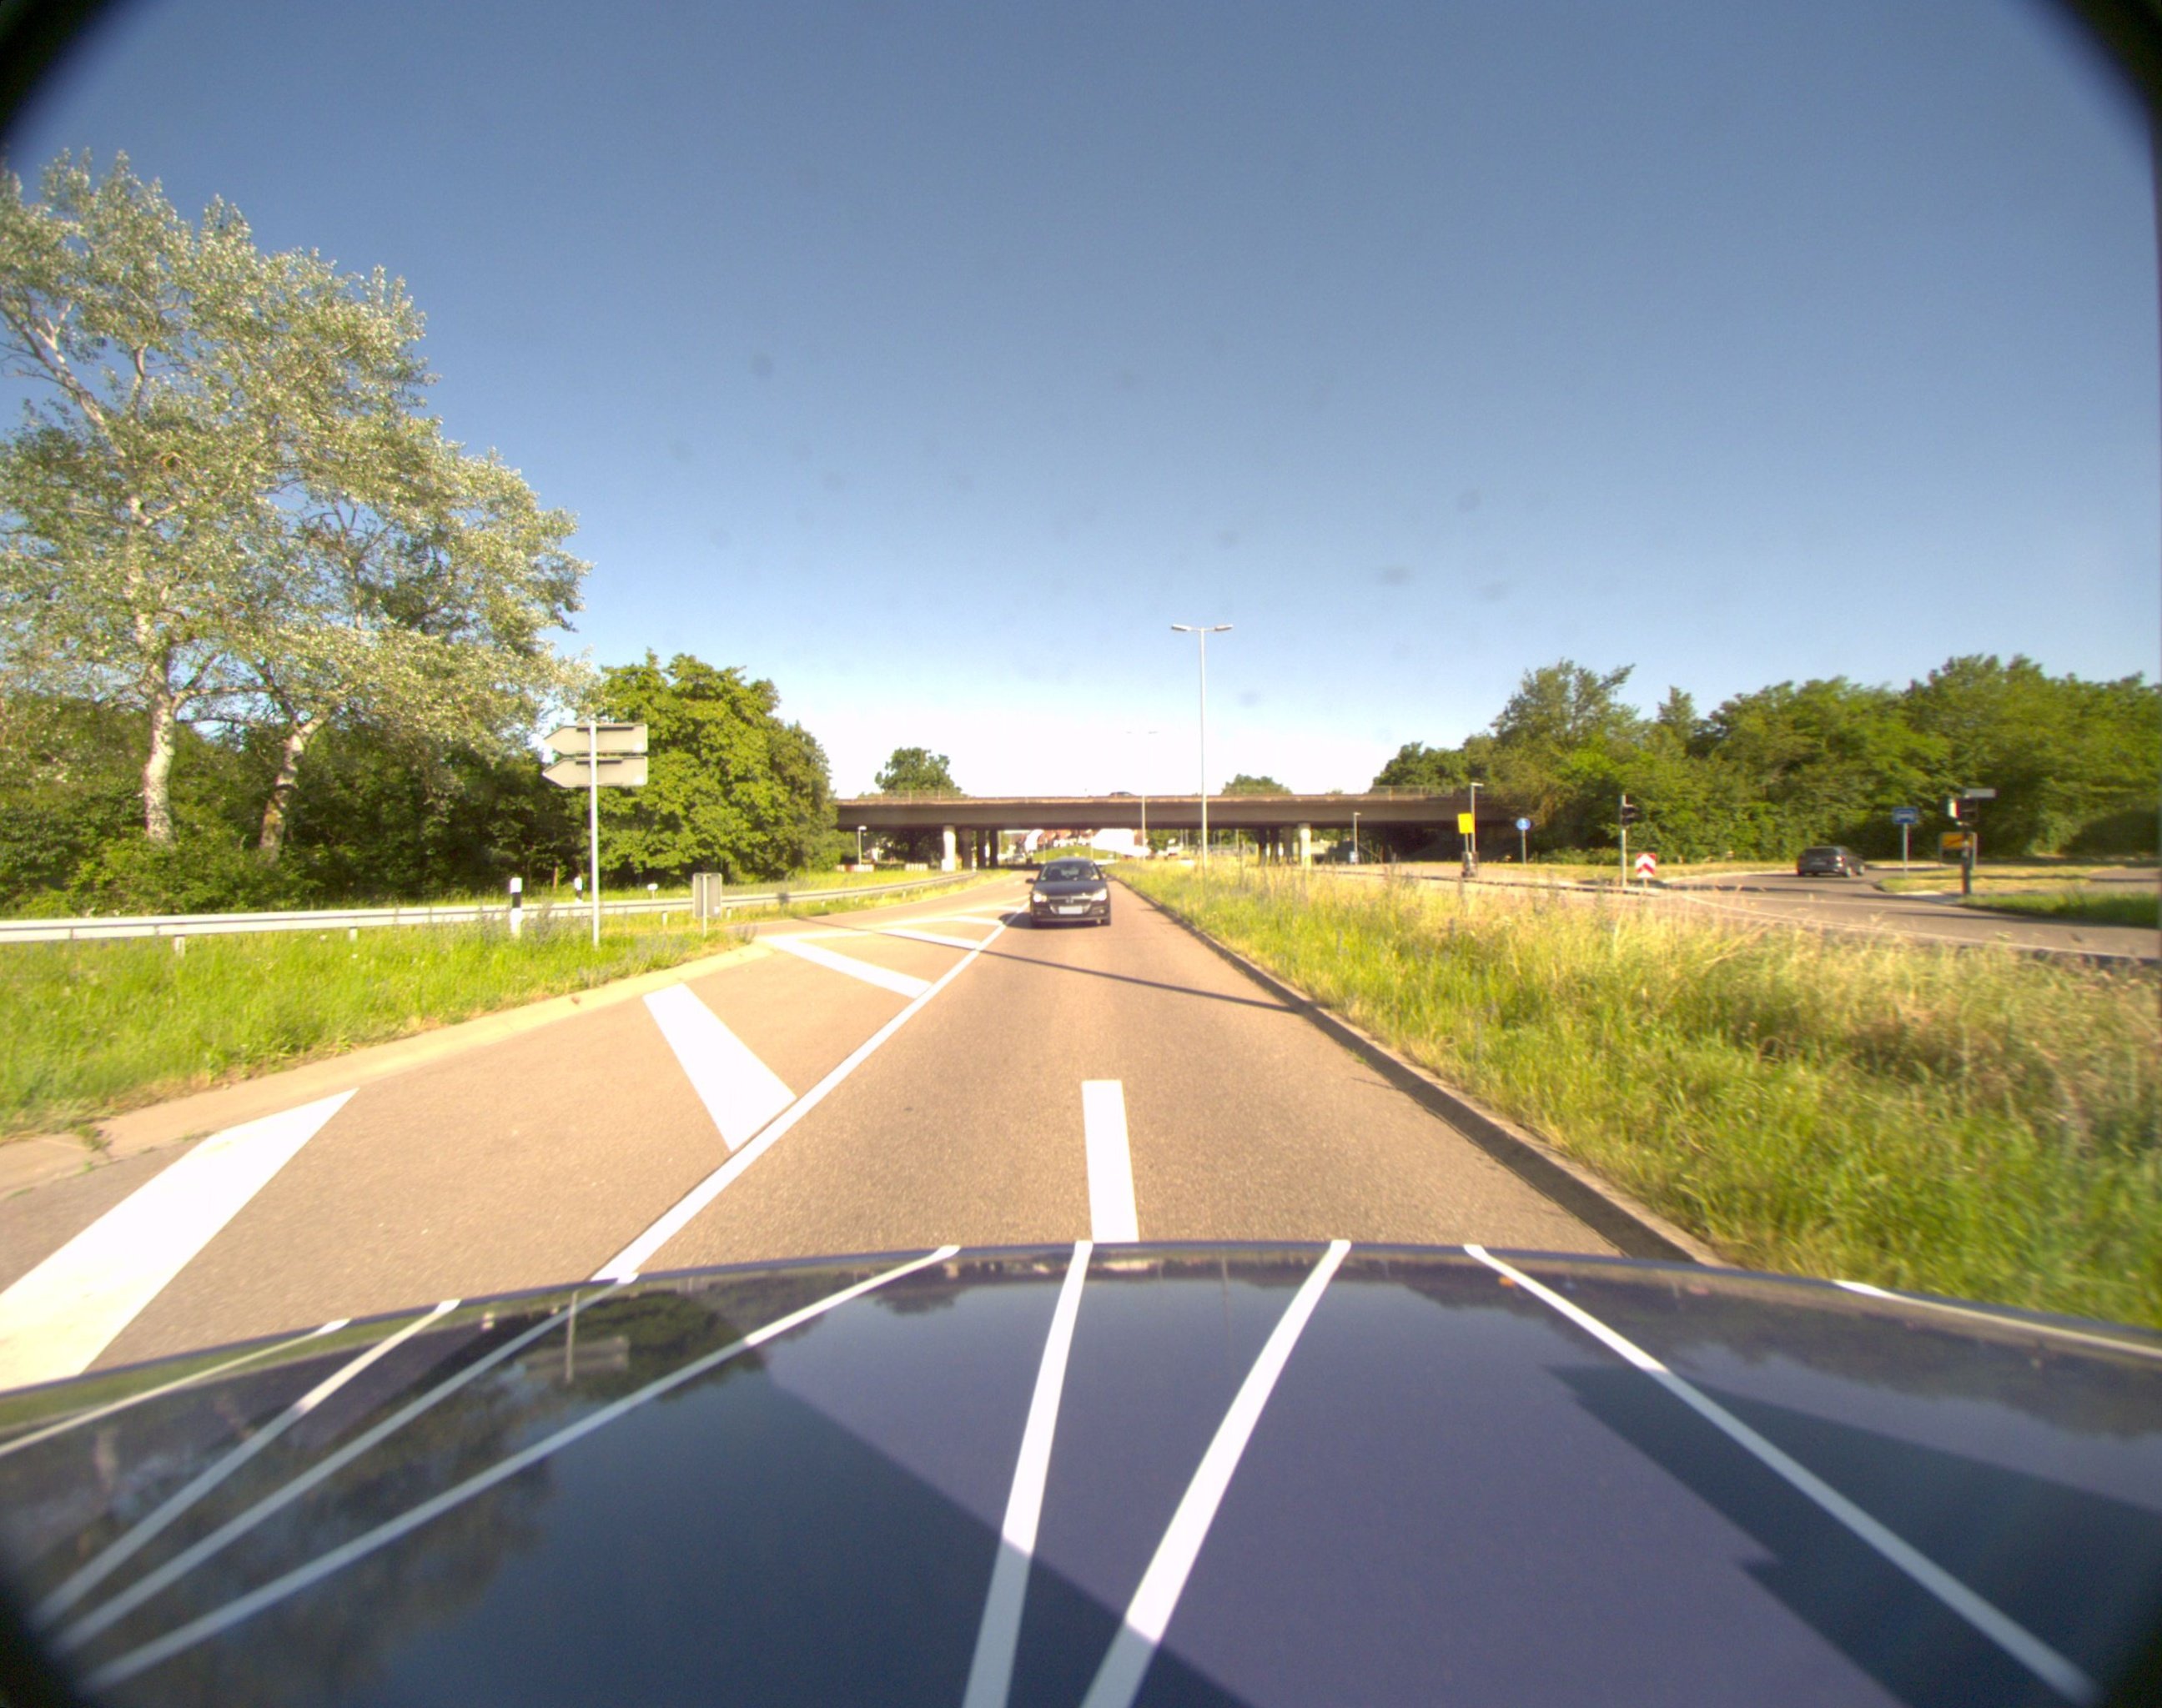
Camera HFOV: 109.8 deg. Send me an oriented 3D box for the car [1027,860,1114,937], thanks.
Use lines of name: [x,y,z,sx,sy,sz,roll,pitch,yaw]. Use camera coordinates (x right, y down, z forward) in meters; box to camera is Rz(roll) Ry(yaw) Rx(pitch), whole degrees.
car: [-0.197,0.907,17.188,1.707,1.446,3.959,-1,0,1]

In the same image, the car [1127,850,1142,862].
car: [7.475,0.249,105.976,1.637,1.521,3.591,-1,0,-3]

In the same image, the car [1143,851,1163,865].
car: [8.120,0.419,86.450,1.637,1.521,3.591,-1,0,-5]

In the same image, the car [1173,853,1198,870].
car: [9.367,0.645,68.344,1.636,1.436,4.103,-1,0,0]

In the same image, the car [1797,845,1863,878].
car: [35.784,0.308,36.268,4.390,1.417,1.781,-1,2,-40]

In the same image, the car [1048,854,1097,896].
car: [-0.312,0.789,30.835,1.827,1.528,4.042,-1,1,0]

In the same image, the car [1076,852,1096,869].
car: [0.505,0.553,71.709,1.827,1.528,4.042,-1,0,0]
